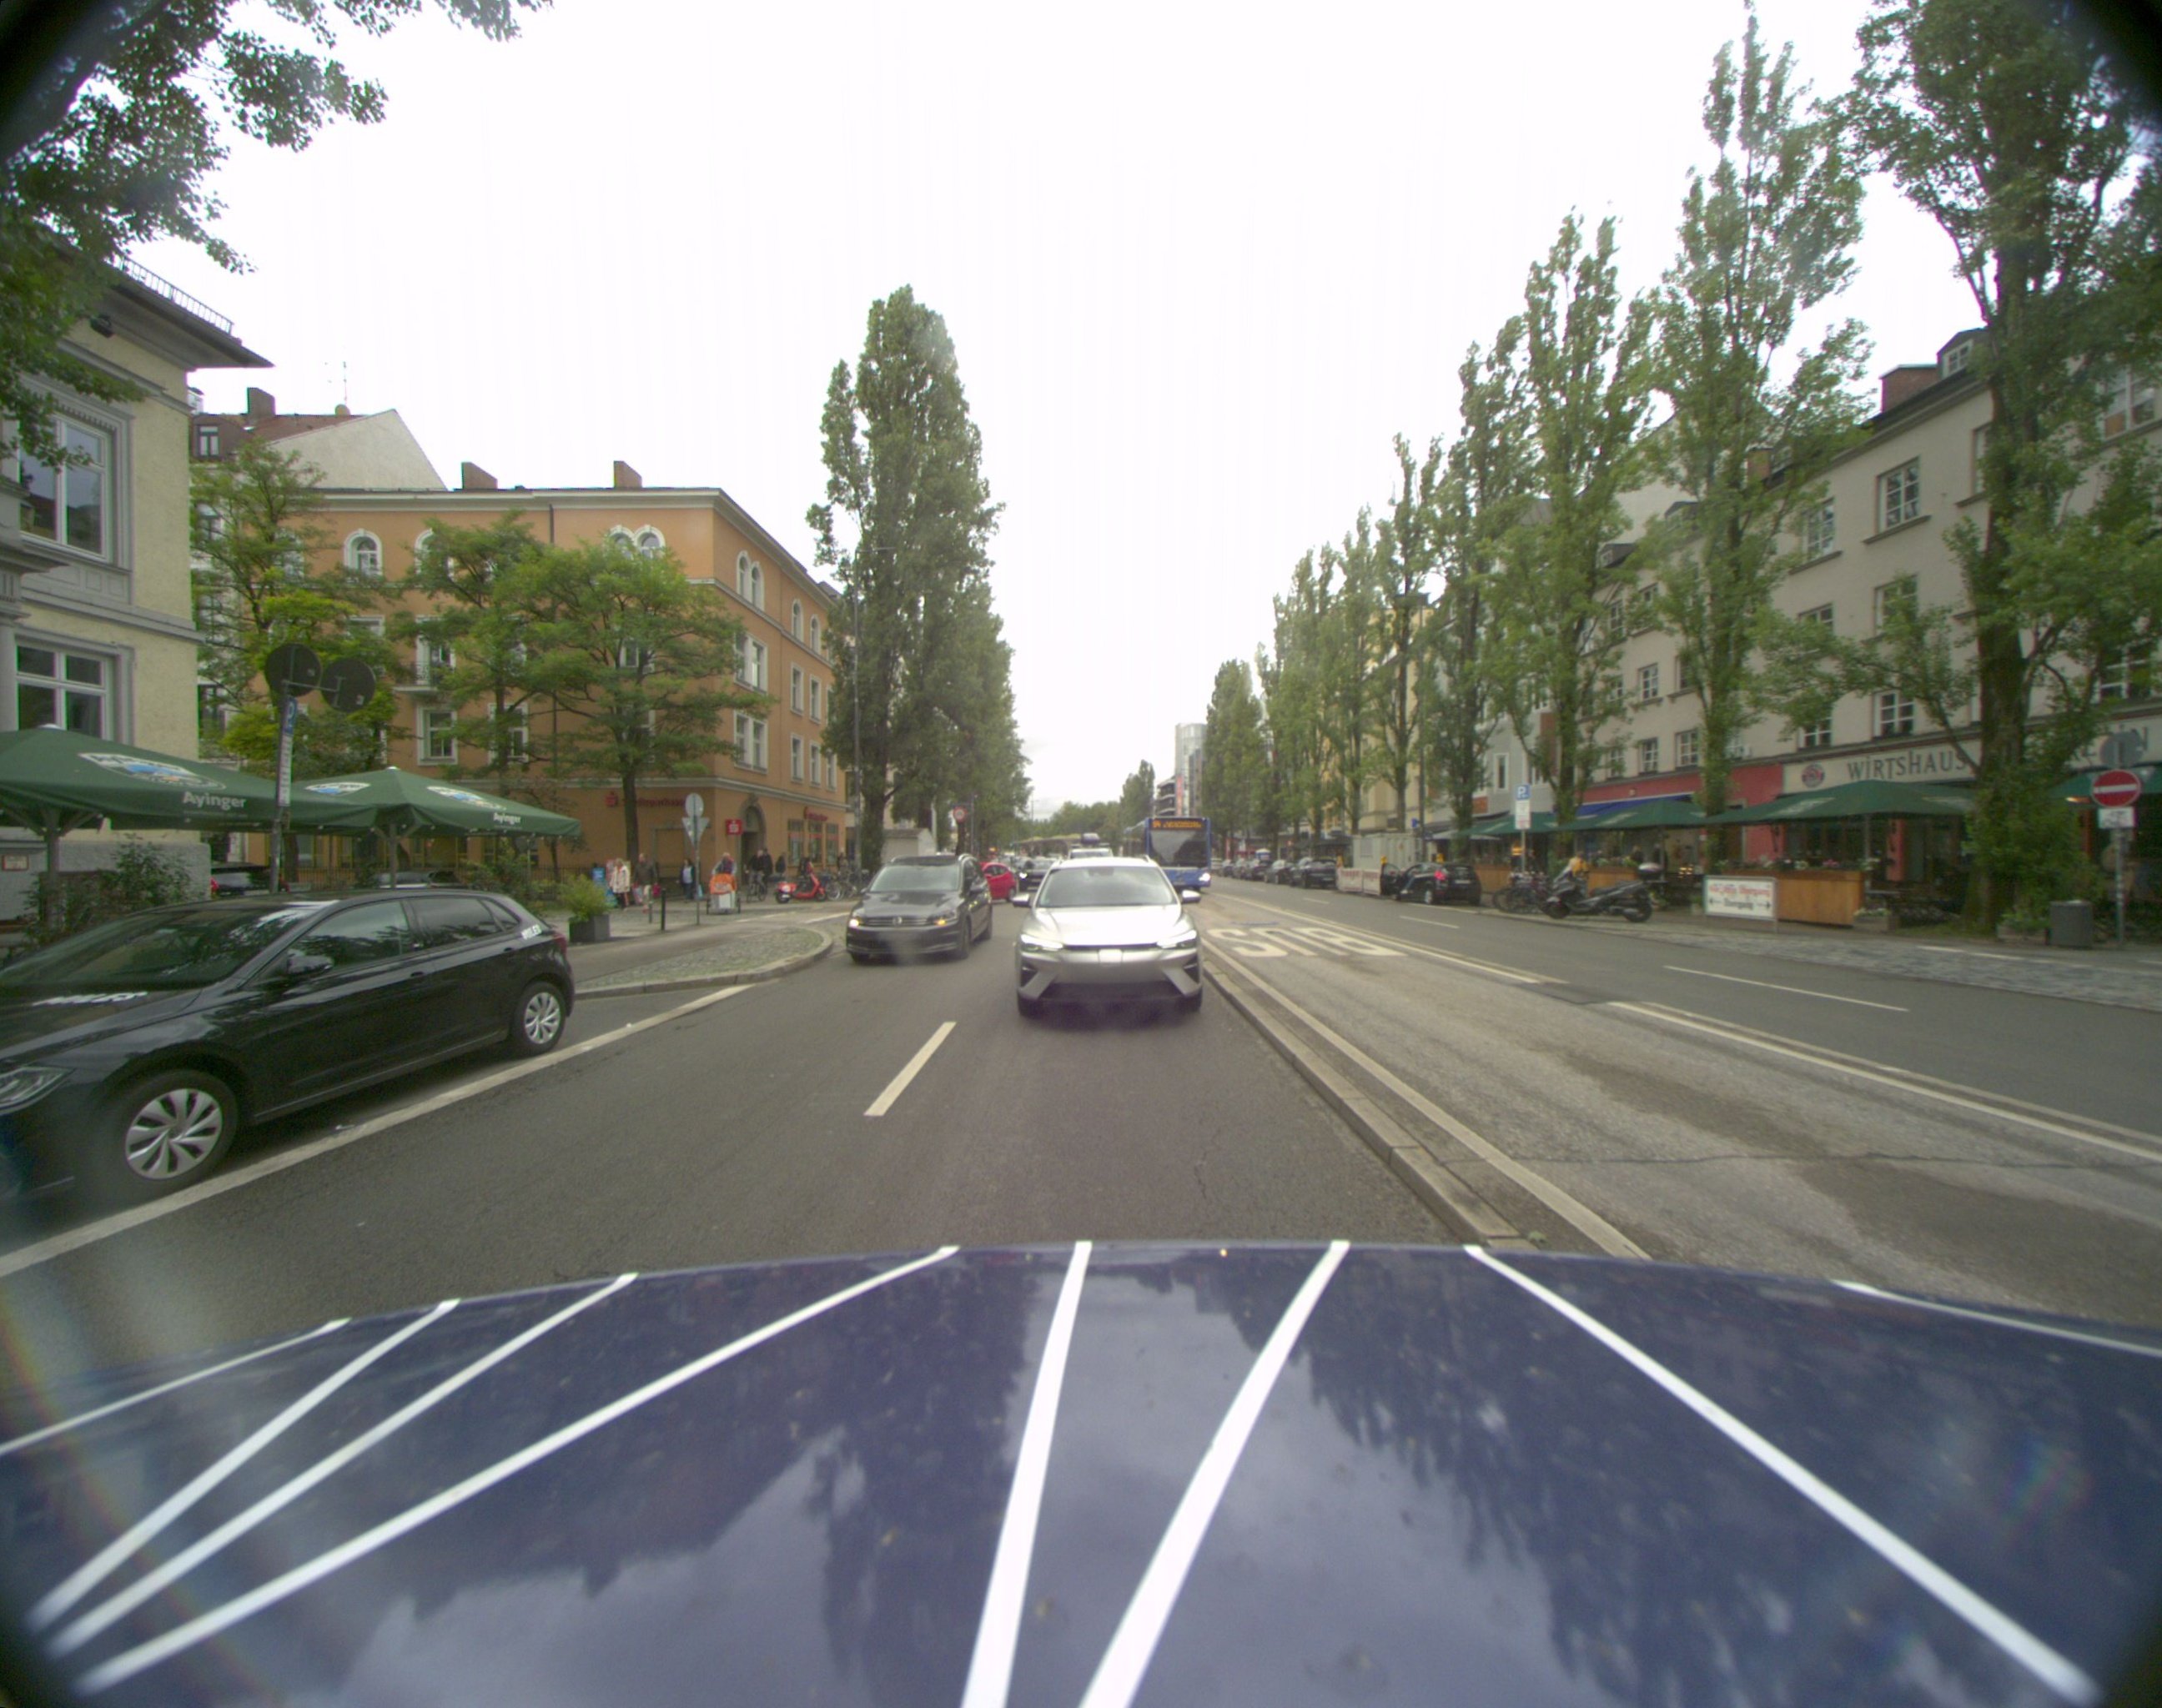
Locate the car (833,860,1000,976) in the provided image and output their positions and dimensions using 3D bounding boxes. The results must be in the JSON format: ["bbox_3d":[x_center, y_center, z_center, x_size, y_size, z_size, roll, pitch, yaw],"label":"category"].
[{"bbox_3d":[-2.570,0.930,12.946,1.882,1.582,4.192,-2,0,0],"label":"car"}]

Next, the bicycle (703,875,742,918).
[{"bbox_3d":[-10.496,1.208,22.192,0.889,1.113,2.097,-1,0,-29],"label":"bicycle"}]

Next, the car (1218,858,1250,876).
[{"bbox_3d":[12.628,1.042,62.970,1.802,1.432,4.574,0,0,1],"label":"car"}]

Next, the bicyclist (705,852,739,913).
[{"bbox_3d":[-10.600,0.833,22.426,0.832,1.747,0.666,-1,1,-29],"label":"bicyclist"}]

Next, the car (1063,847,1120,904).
[{"bbox_3d":[0.359,0.683,27.747,1.839,1.831,5.129,-2,1,0],"label":"car"}]

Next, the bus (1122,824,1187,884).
[{"bbox_3d":[3.863,-0.017,42.080,2.690,2.932,10.052,0,0,0],"label":"bus"}]

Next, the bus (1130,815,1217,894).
[{"bbox_3d":[3.787,0.011,33.438,2.696,2.932,10.052,0,0,0],"label":"bus"}]

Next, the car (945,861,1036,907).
[{"bbox_3d":[-3.124,1.010,27.064,1.614,1.425,4.008,-2,0,19],"label":"car"}]

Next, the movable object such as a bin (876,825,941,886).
[{"bbox_3d":[-9.386,0.070,41.782,2.445,3.119,4.543,1,0,1],"label":"movable object such as a bin"}]

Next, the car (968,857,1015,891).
[{"bbox_3d":[-4.500,0.958,38.814,1.789,1.544,4.498,-2,0,0],"label":"car"}]

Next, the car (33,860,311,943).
[{"bbox_3d":[-21.354,1.076,17.974,4.425,1.692,1.972,-2,1,5],"label":"car"}]

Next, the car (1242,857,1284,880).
[{"bbox_3d":[12.393,0.949,52.018,1.802,1.432,4.574,0,0,1],"label":"car"}]

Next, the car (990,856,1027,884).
[{"bbox_3d":[-4.456,0.943,47.226,1.789,1.604,4.498,-2,0,0],"label":"car"}]

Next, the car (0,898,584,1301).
[{"bbox_3d":[-5.248,1.109,4.759,1.698,1.408,3.951,-1,0,-1],"label":"car"}]

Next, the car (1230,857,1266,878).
[{"bbox_3d":[12.560,0.967,57.365,1.802,1.495,4.574,0,0,1],"label":"car"}]

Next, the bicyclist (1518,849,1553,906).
[{"bbox_3d":[13.783,0.710,23.065,0.606,1.695,0.816,-1,1,2],"label":"bicyclist"}]

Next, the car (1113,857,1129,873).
[{"bbox_3d":[5.359,1.450,101.651,1.998,2.002,4.000,0,0,1],"label":"car"}]

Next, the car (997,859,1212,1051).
[{"bbox_3d":[0.203,0.860,8.376,1.742,1.510,4.033,-2,0,0],"label":"car"}]

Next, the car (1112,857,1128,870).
[{"bbox_3d":[5.717,1.361,111.813,1.897,1.921,5.070,0,0,-1],"label":"car"}]

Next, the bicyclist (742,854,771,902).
[{"bbox_3d":[-11.464,0.838,26.857,0.741,1.677,0.748,-1,1,-7],"label":"bicyclist"}]

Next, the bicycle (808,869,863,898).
[{"bbox_3d":[-9.476,1.144,29.384,1.945,1.069,0.561,-1,1,1],"label":"bicycle"}]

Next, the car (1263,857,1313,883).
[{"bbox_3d":[12.282,0.942,45.437,1.802,1.432,4.574,0,0,1],"label":"car"}]

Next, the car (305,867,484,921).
[{"bbox_3d":[-22.266,1.264,24.761,3.997,1.511,1.906,-2,1,-1],"label":"car"}]

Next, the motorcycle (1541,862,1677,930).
[{"bbox_3d":[11.983,0.901,17.363,0.747,1.406,2.448,0,0,-33],"label":"motorcycle"}]

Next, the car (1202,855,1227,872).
[{"bbox_3d":[12.901,0.875,73.484,1.802,1.568,4.104,0,0,1],"label":"car"}]

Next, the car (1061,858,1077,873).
[{"bbox_3d":[-1.349,1.319,88.282,1.789,1.604,4.498,-2,0,0],"label":"car"}]

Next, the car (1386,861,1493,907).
[{"bbox_3d":[12.209,0.989,26.166,1.760,1.414,3.784,1,0,-2],"label":"car"}]

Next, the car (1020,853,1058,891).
[{"bbox_3d":[-2.092,0.831,36.945,1.707,1.683,4.001,-2,0,-5],"label":"car"}]

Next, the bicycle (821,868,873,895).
[{"bbox_3d":[-9.453,1.102,30.737,1.945,1.078,0.561,-1,1,1],"label":"bicycle"}]

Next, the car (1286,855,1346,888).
[{"bbox_3d":[12.133,0.876,39.522,1.802,1.603,4.574,0,0,1],"label":"car"}]

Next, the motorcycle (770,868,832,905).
[{"bbox_3d":[-9.711,1.103,26.384,1.963,1.214,0.514,-1,1,-25],"label":"motorcycle"}]
